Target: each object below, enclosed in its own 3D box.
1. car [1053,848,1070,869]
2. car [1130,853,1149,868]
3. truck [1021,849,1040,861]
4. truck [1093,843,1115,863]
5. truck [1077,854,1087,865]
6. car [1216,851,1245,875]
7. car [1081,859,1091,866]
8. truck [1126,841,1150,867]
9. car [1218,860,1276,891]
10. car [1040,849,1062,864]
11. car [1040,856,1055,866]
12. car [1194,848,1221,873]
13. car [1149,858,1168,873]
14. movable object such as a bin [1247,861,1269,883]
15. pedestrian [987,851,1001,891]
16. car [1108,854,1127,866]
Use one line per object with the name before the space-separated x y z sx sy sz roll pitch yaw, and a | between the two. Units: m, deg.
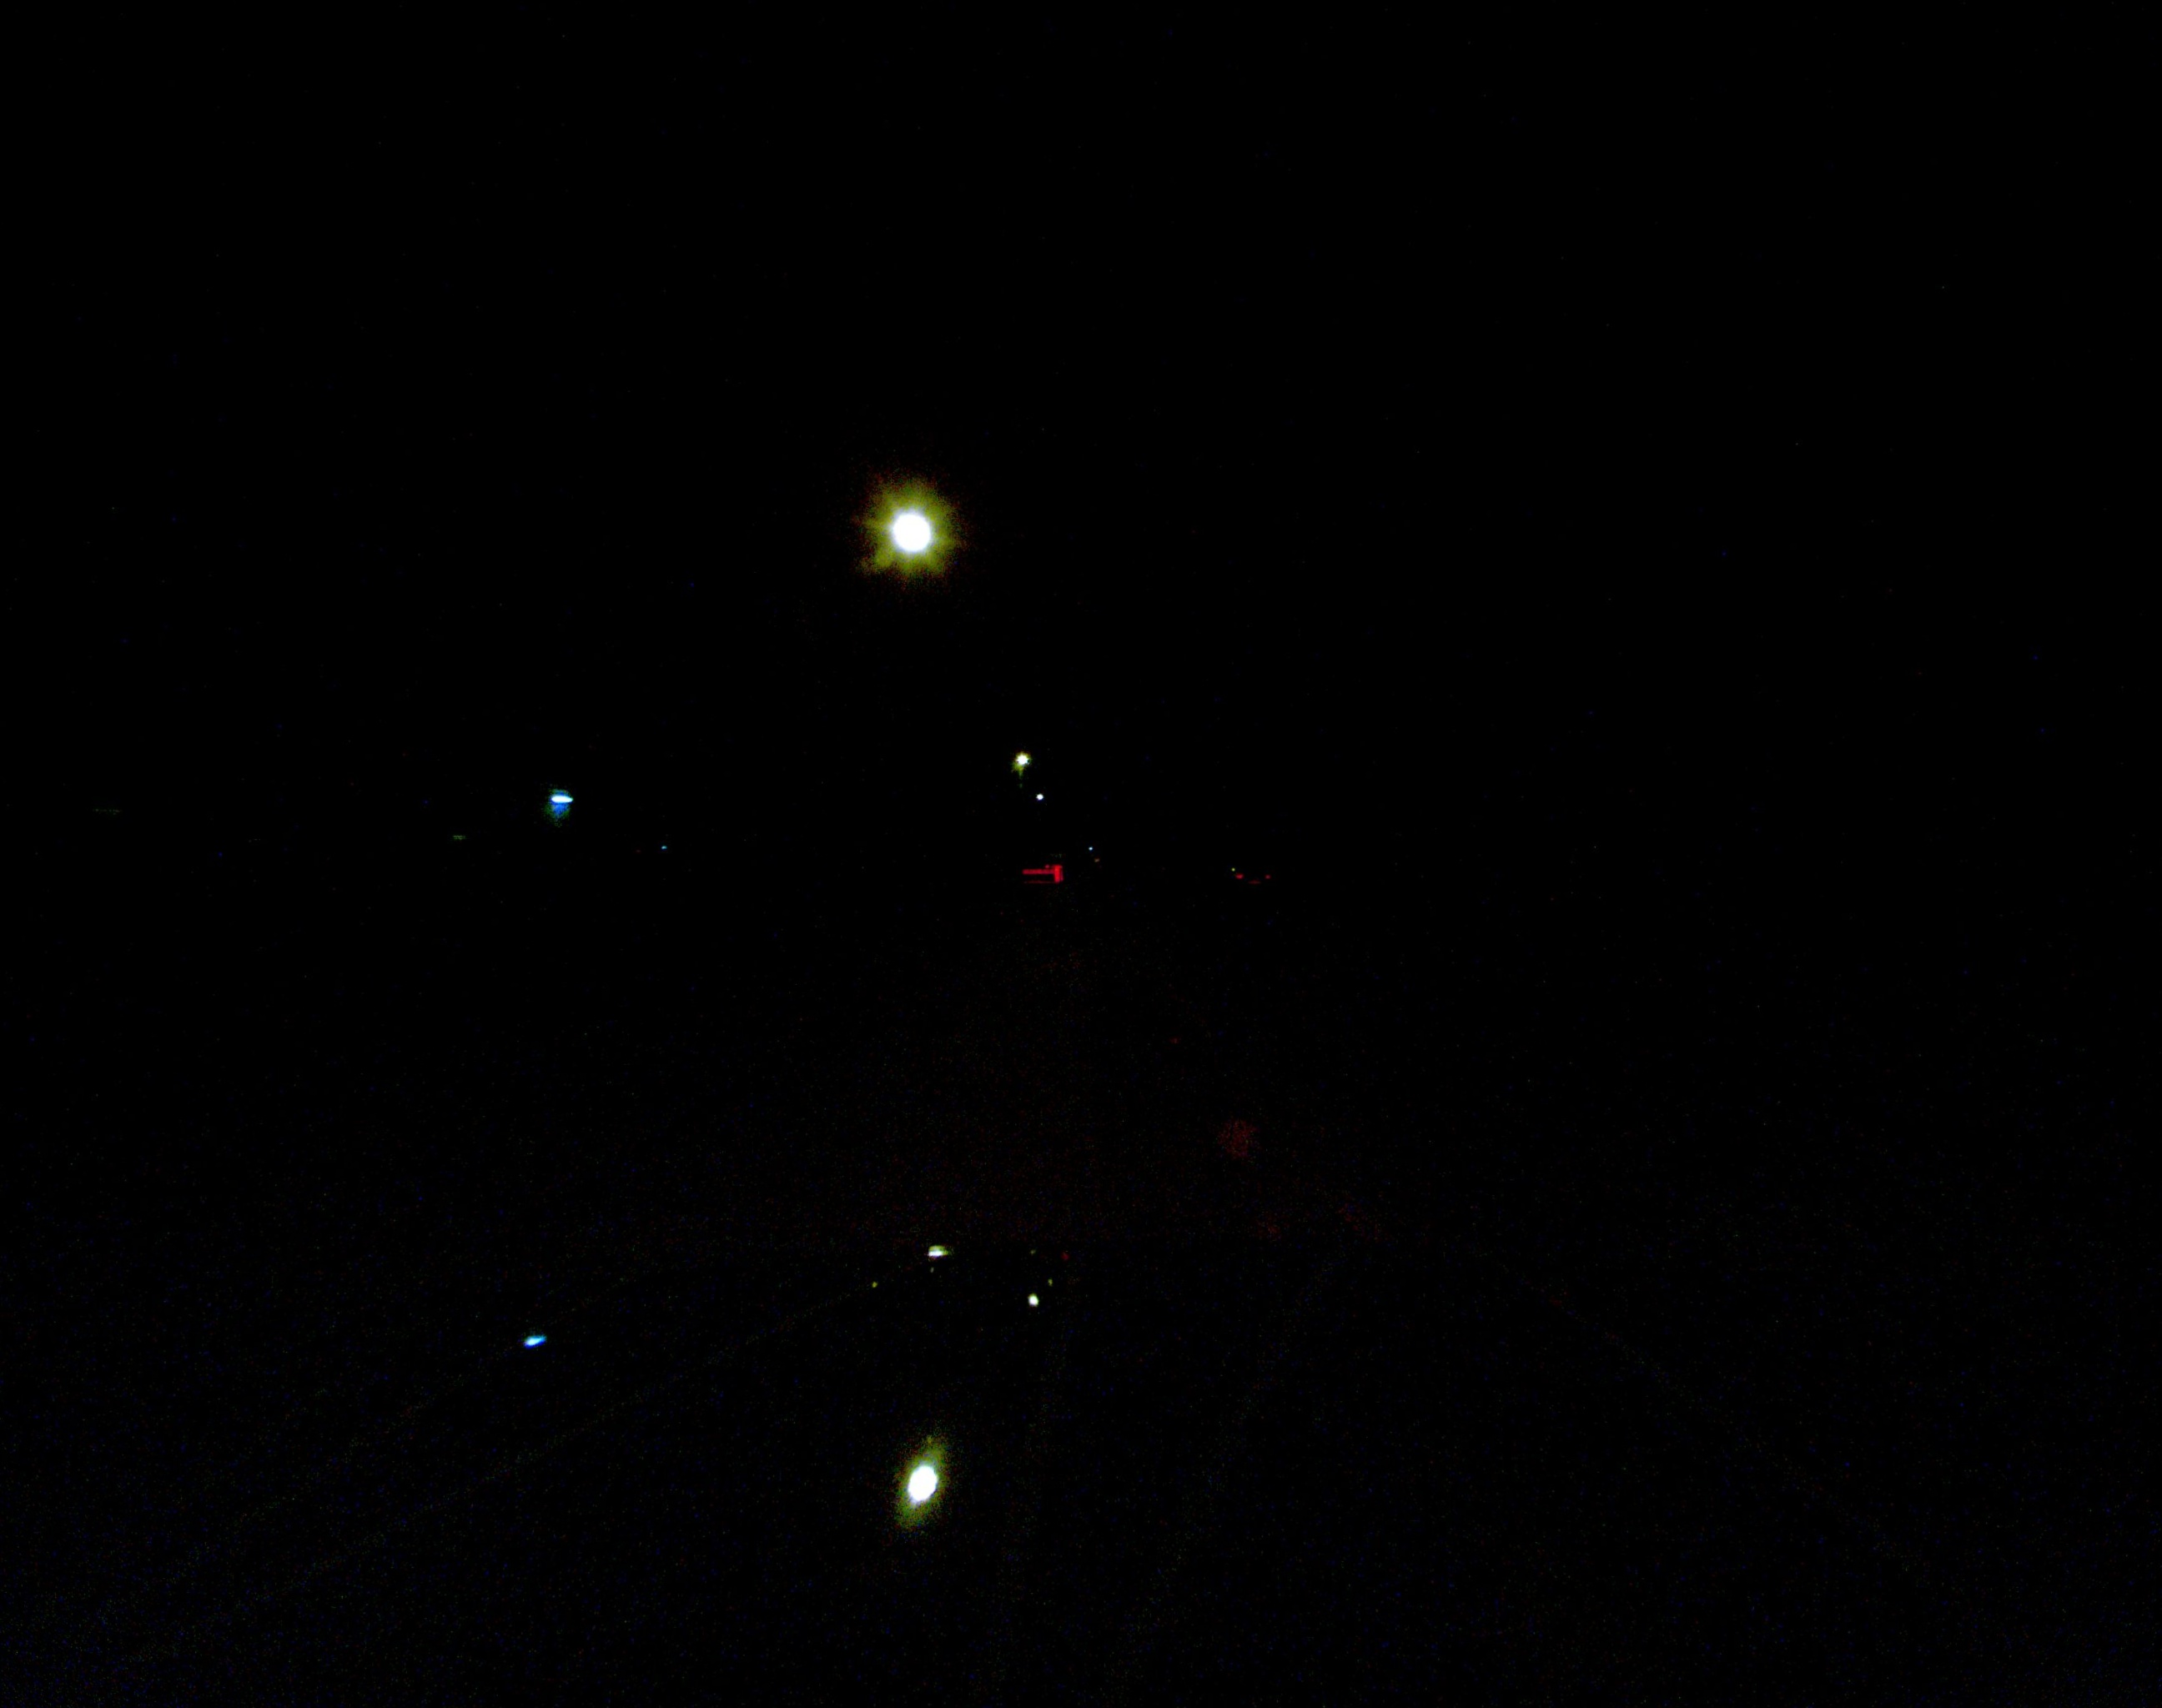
car | -2.370 0.554 93.850 2.026 2.512 6.051 -1 0 -1
car | 7.349 0.770 95.497 1.834 1.806 4.837 1 0 -2
truck | -11.927 0.343 178.783 2.003 2.767 7.229 0 0 -24
truck | 3.982 -0.167 131.128 2.381 3.224 7.225 0 0 -10
truck | 0.235 1.361 183.231 2.138 2.597 7.098 1 0 -2
car | 14.848 0.901 75.521 2.212 2.308 4.625 1 0 4
car | 1.114 1.964 173.990 1.862 1.630 3.999 1 0 -3
truck | 7.605 0.007 102.374 2.550 3.261 7.311 0 0 -2
car | 8.064 0.993 37.184 1.916 1.395 4.338 1 0 1
car | -6.577 0.510 165.514 2.393 3.224 7.217 0 0 -24
car | -5.359 1.162 120.600 1.716 1.499 3.996 -1 0 -11
car | 12.422 0.656 74.762 1.998 2.308 4.968 2 0 4
car | 7.833 1.169 76.909 1.759 1.517 4.324 0 0 4
movable object such as a bin | 11.650 1.181 50.123 1.167 1.487 1.065 0 0 -3
pedestrian | -4.108 0.800 35.776 0.572 1.842 0.820 0 0 0
car | 5.712 0.901 118.588 2.000 1.761 4.688 0 0 -10
